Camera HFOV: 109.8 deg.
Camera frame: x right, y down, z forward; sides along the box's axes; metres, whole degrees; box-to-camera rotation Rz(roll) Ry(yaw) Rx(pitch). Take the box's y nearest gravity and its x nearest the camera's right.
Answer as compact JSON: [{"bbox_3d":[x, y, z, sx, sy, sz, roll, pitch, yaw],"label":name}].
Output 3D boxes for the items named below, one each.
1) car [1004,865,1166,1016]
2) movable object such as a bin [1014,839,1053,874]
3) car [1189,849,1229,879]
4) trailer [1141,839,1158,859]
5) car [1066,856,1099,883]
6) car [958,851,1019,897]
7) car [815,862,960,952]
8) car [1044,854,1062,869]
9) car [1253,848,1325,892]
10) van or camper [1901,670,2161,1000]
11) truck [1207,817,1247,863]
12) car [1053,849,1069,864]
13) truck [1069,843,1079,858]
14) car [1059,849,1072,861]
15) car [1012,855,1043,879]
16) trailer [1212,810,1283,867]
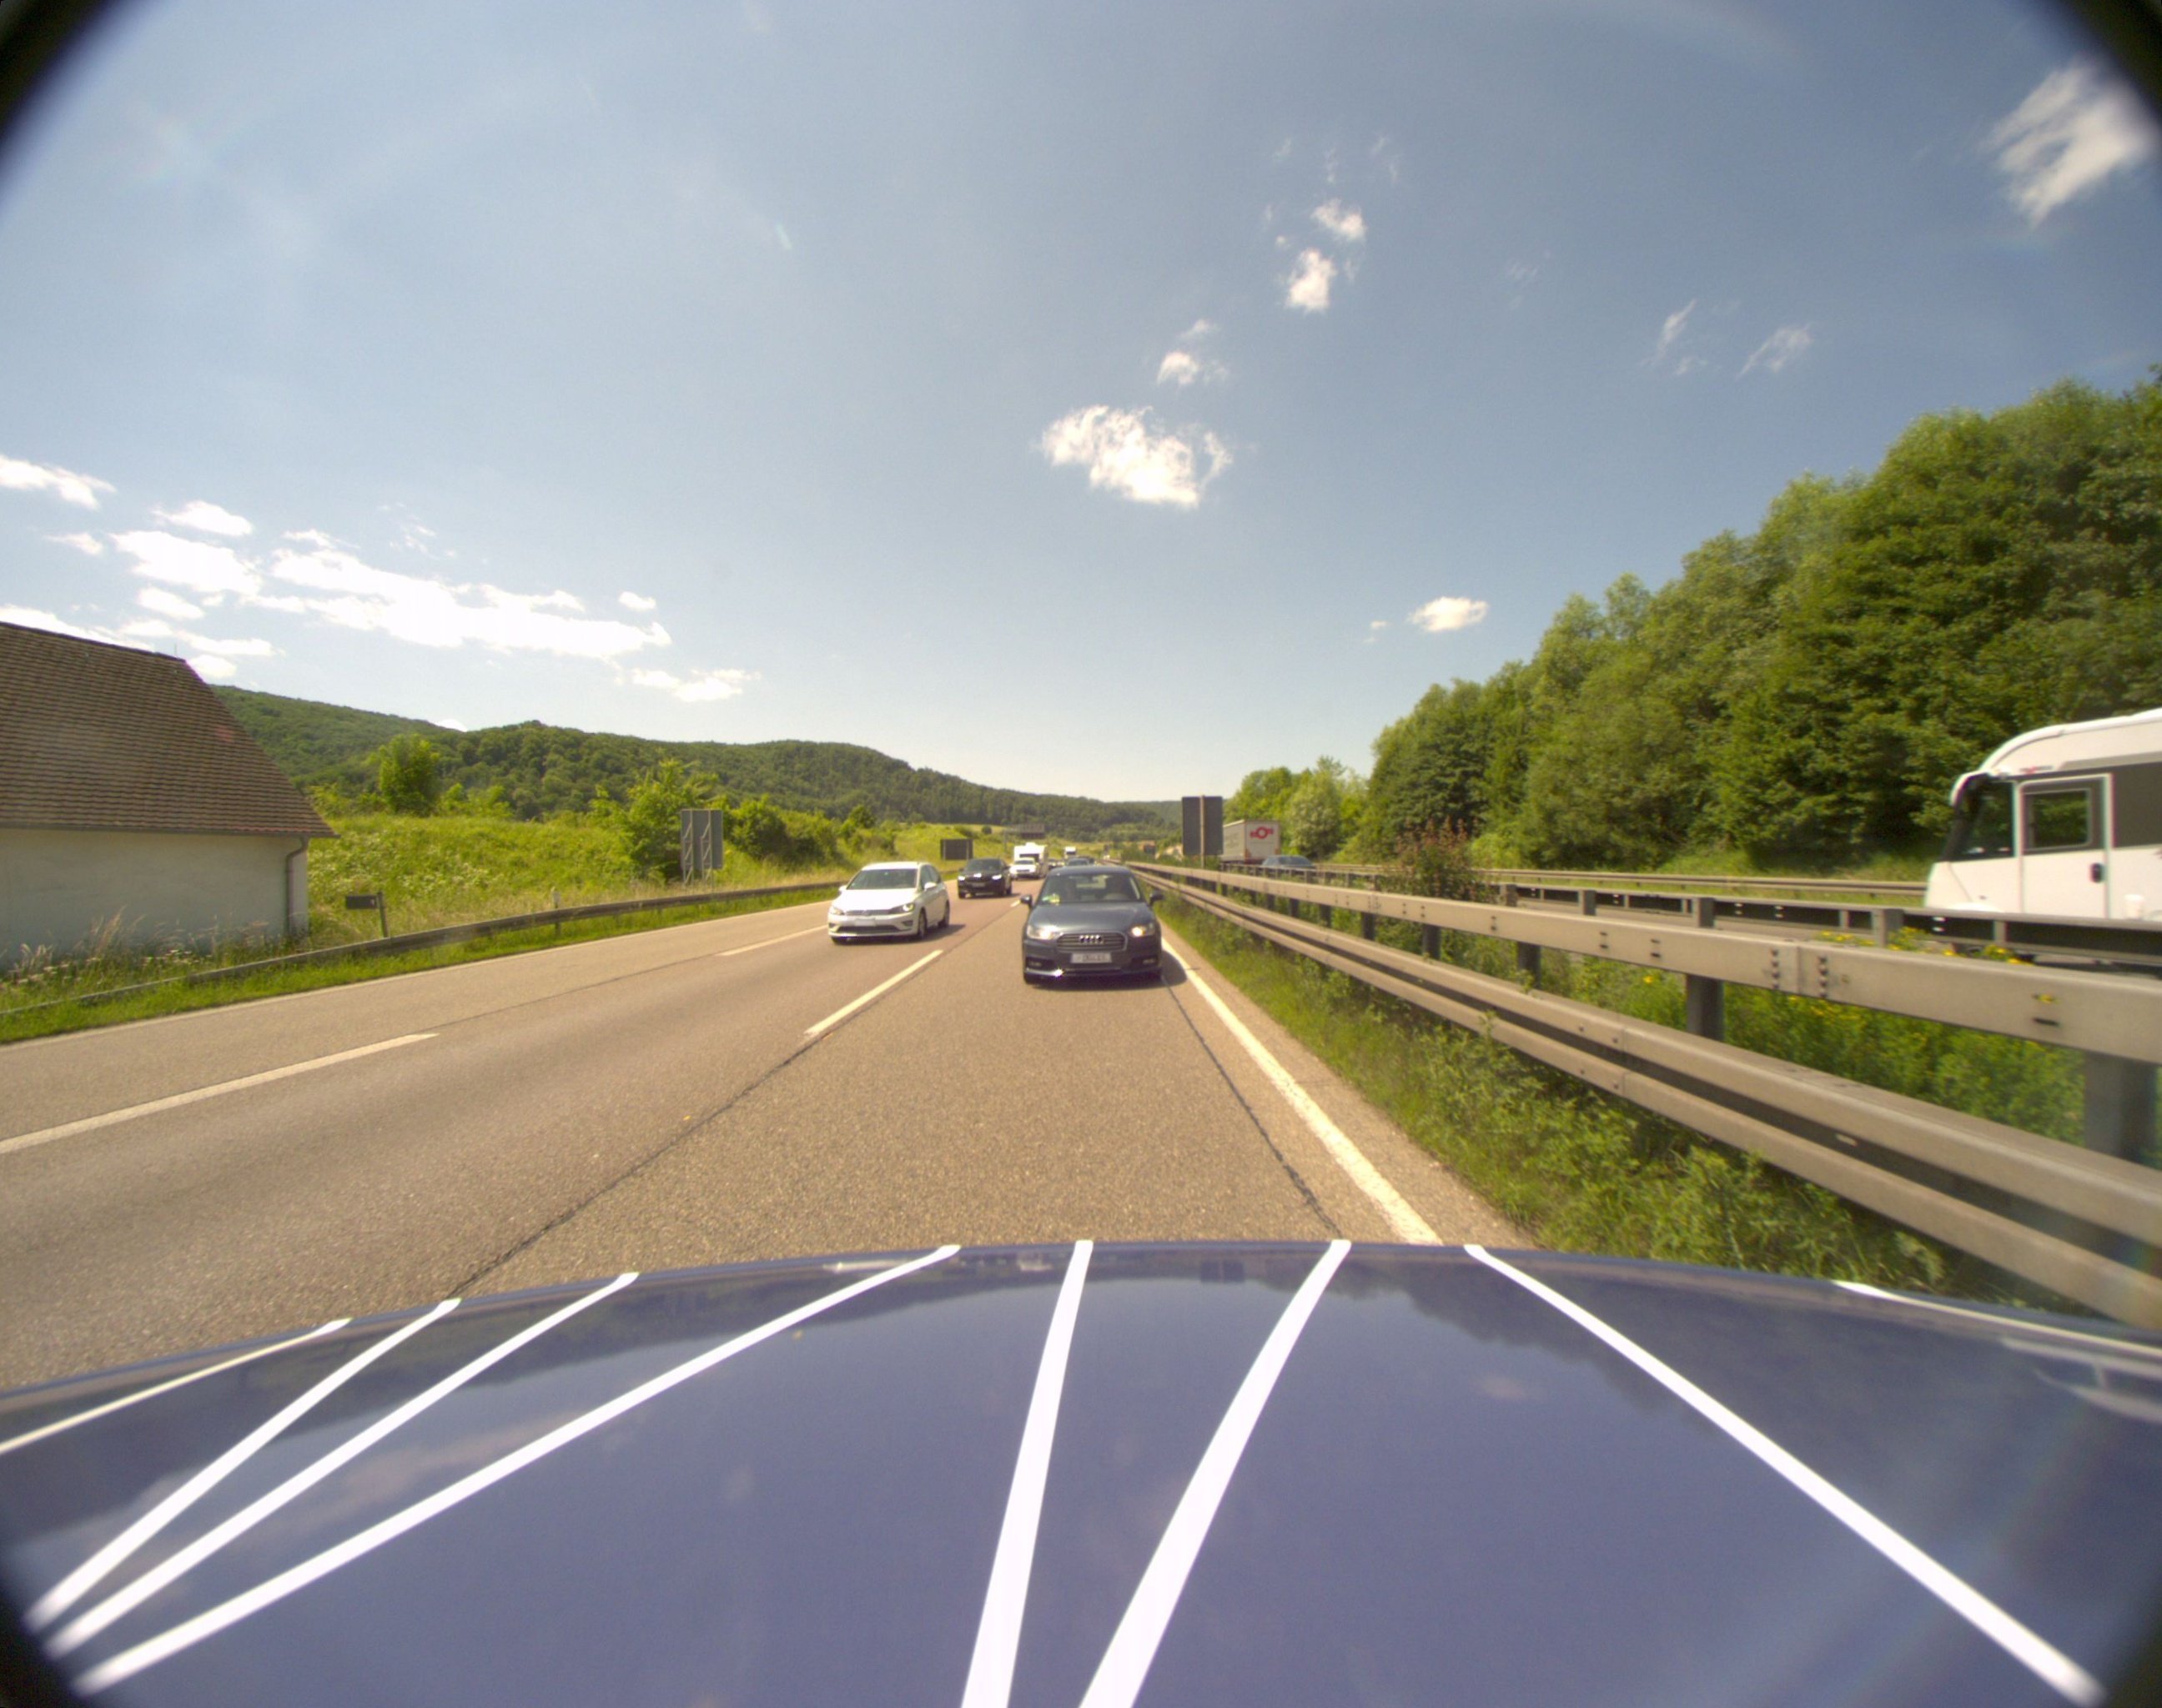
[{"bbox_3d":[0.179,0.910,9.675,1.591,1.401,4.001,-2,0,4],"label":"car"},{"bbox_3d":[-3.763,0.181,61.265,2.481,2.616,6.709,-2,0,1],"label":"movable object such as a bin"},{"bbox_3d":[9.268,0.691,55.350,1.999,2.002,4.333,-2,0,-1],"label":"car"},{"bbox_3d":[14.717,-1.078,164.191,2.587,3.982,12.601,-2,0,1],"label":"trailer"},{"bbox_3d":[0.140,0.924,46.609,1.835,1.586,4.000,-1,0,2],"label":"car"},{"bbox_3d":[-3.807,0.771,31.825,1.893,1.761,4.172,-1,0,2],"label":"car"},{"bbox_3d":[-3.898,1.010,16.019,1.777,1.532,4.055,-2,0,3],"label":"car"},{"bbox_3d":[-2.946,0.774,81.253,1.711,1.542,4.000,-1,0,1],"label":"car"},{"bbox_3d":[8.429,0.597,31.228,1.779,1.642,4.491,-1,0,1],"label":"car"},{"bbox_3d":[12.111,-0.208,6.270,2.596,3.316,7.648,-1,0,2],"label":"van or camper"},{"bbox_3d":[13.217,-1.235,69.105,2.735,3.978,5.369,-1,0,1],"label":"truck"},{"bbox_3d":[-2.853,0.326,109.326,1.999,2.002,3.998,-1,0,-5],"label":"car"},{"bbox_3d":[-1.718,-0.936,193.777,2.336,3.623,7.006,-2,0,1],"label":"truck"},{"bbox_3d":[-2.760,0.158,136.033,1.998,2.002,3.999,-2,1,0],"label":"car"},{"bbox_3d":[-3.791,0.885,54.443,1.821,1.574,4.000,-2,0,1],"label":"car"},{"bbox_3d":[13.125,-1.170,61.434,2.789,3.976,14.159,-2,0,1],"label":"trailer"}]
